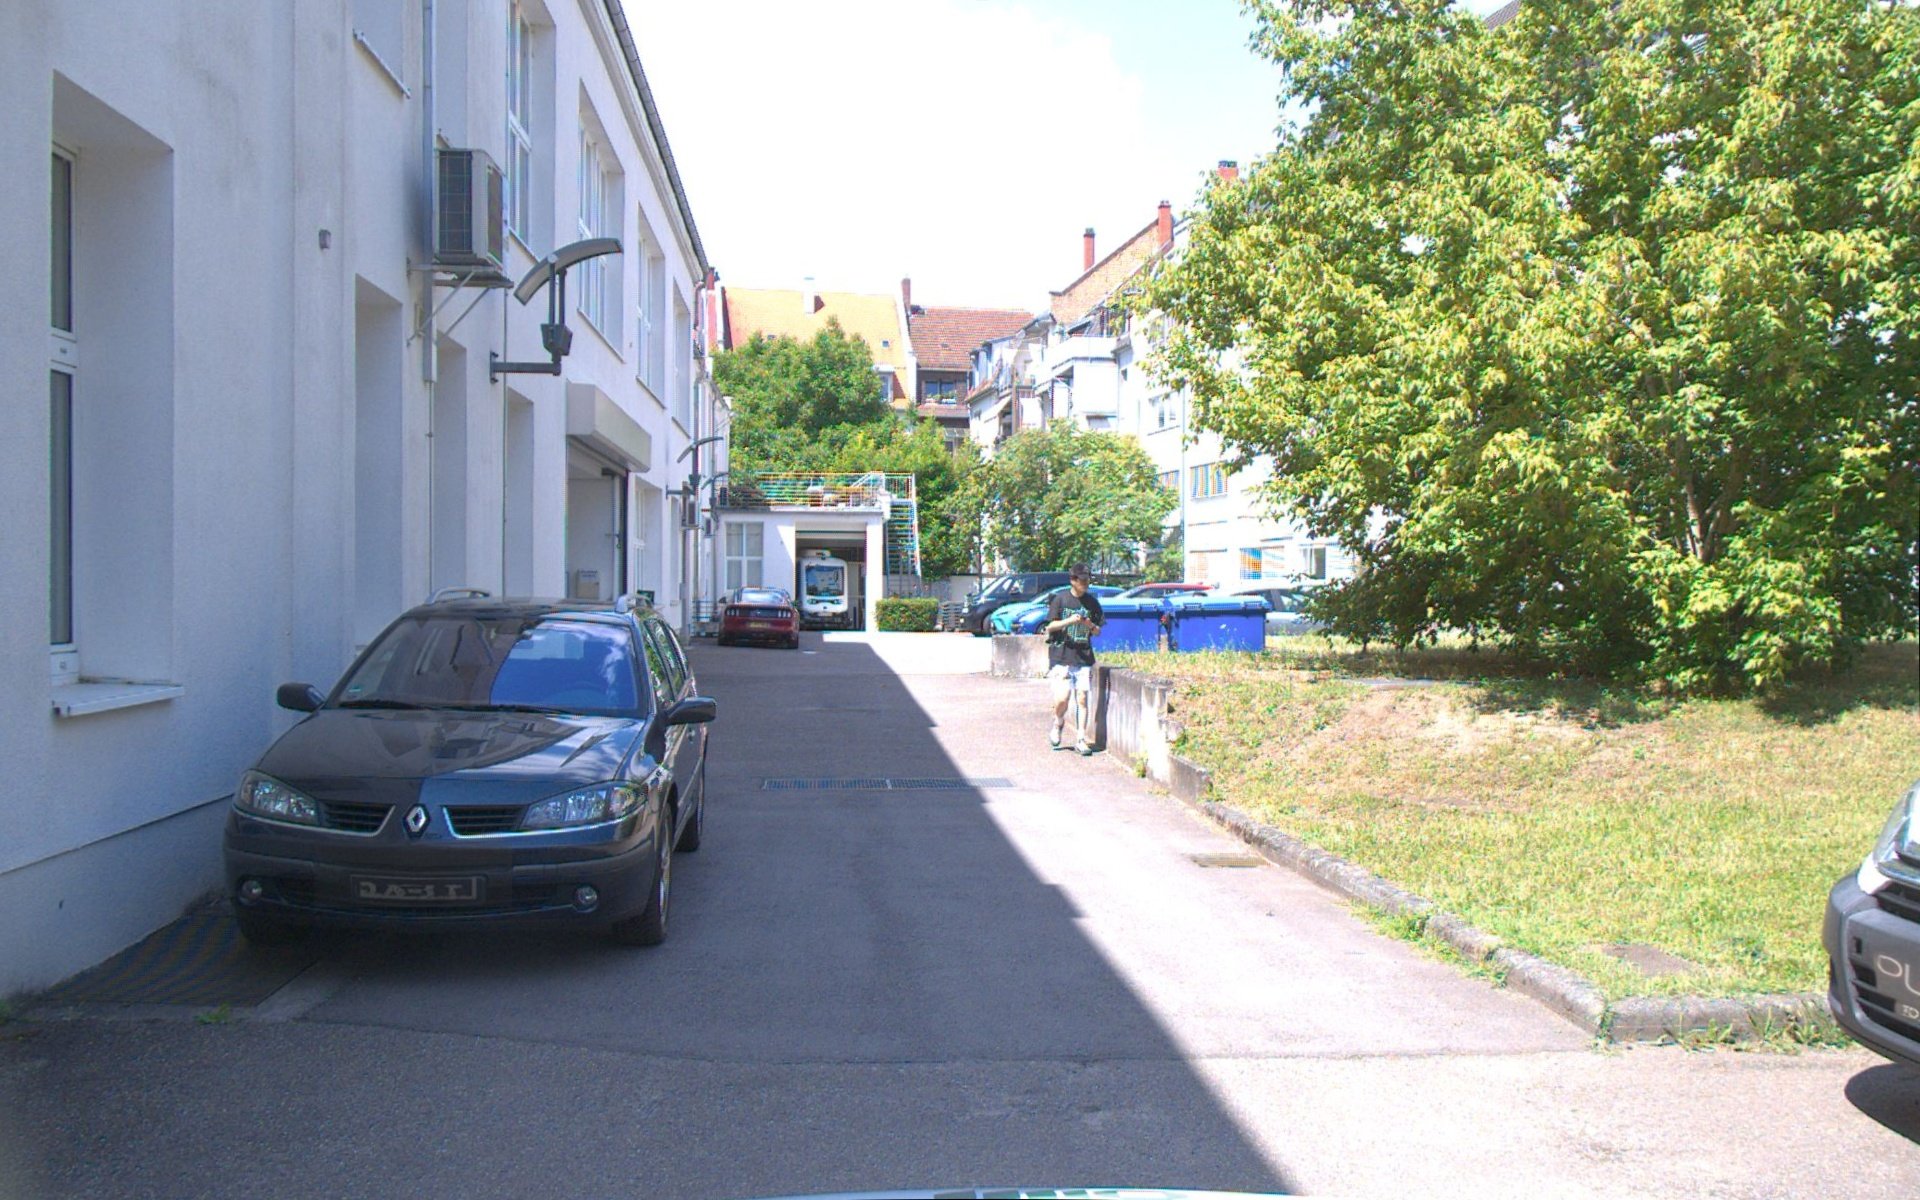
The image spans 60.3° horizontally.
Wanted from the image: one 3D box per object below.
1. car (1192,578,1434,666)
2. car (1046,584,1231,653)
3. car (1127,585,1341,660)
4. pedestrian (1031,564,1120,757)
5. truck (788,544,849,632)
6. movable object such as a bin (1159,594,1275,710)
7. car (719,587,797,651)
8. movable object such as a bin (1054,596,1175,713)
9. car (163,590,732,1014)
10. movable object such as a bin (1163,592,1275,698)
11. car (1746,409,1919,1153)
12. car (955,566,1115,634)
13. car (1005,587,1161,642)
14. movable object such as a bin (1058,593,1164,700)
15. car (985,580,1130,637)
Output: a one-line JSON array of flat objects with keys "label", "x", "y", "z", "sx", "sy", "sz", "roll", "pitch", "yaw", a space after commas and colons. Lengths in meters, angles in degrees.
[{"label": "car", "x": 6.308, "y": 0.369, "z": 29.775, "sx": 3.911, "sy": 1.504, "sz": 1.802, "roll": 0, "pitch": 1, "yaw": -7}, {"label": "car", "x": 4.054, "y": 0.392, "z": 37.889, "sx": 3.911, "sy": 1.504, "sz": 1.802, "roll": 0, "pitch": 1, "yaw": -7}, {"label": "car", "x": 5.467, "y": 0.427, "z": 33.220, "sx": 3.911, "sy": 1.414, "sz": 1.802, "roll": 0, "pitch": 1, "yaw": -7}, {"label": "pedestrian", "x": 1.085, "y": 0.551, "z": 15.684, "sx": 0.742, "sy": 1.786, "sz": 0.751, "roll": 0, "pitch": 1, "yaw": -4}, {"label": "truck", "x": -5.068, "y": -0.440, "z": 58.775, "sx": 1.756, "sy": 2.988, "sz": 4.642, "roll": 0, "pitch": 0, "yaw": -10}, {"label": "movable object such as a bin", "x": 3.116, "y": 0.616, "z": 20.191, "sx": 1.192, "sy": 1.350, "sz": 1.160, "roll": 0, "pitch": 1, "yaw": -3}, {"label": "car", "x": -4.817, "y": 0.416, "z": 39.736, "sx": 1.764, "sy": 1.414, "sz": 3.995, "roll": 0, "pitch": 1, "yaw": -6}, {"label": "movable object such as a bin", "x": 1.853, "y": 0.635, "z": 20.045, "sx": 1.312, "sy": 1.350, "sz": 1.160, "roll": 0, "pitch": 1, "yaw": -3}, {"label": "car", "x": -2.135, "y": 0.709, "z": 8.149, "sx": 1.720, "sy": 1.455, "sz": 4.383, "roll": 0, "pitch": 1, "yaw": -4}, {"label": "movable object such as a bin", "x": 3.414, "y": 0.577, "z": 21.924, "sx": 1.193, "sy": 1.350, "sz": 1.159, "roll": 0, "pitch": 1, "yaw": -7}, {"label": "car", "x": 4.978, "y": 0.501, "z": 4.645, "sx": 4.667, "sy": 2.049, "sz": 1.998, "roll": 0, "pitch": 0, "yaw": -6}, {"label": "car", "x": 2.245, "y": -0.033, "z": 50.417, "sx": 4.589, "sy": 1.992, "sz": 2.073, "roll": 0, "pitch": 1, "yaw": -7}, {"label": "car", "x": 3.287, "y": 0.365, "z": 44.479, "sx": 3.911, "sy": 1.414, "sz": 1.802, "roll": 0, "pitch": 1, "yaw": -7}, {"label": "movable object such as a bin", "x": 1.977, "y": 0.596, "z": 21.813, "sx": 1.170, "sy": 1.350, "sz": 1.159, "roll": 0, "pitch": 1, "yaw": -7}, {"label": "car", "x": 2.765, "y": 0.235, "z": 47.418, "sx": 3.911, "sy": 1.561, "sz": 1.802, "roll": 0, "pitch": 1, "yaw": -7}]
